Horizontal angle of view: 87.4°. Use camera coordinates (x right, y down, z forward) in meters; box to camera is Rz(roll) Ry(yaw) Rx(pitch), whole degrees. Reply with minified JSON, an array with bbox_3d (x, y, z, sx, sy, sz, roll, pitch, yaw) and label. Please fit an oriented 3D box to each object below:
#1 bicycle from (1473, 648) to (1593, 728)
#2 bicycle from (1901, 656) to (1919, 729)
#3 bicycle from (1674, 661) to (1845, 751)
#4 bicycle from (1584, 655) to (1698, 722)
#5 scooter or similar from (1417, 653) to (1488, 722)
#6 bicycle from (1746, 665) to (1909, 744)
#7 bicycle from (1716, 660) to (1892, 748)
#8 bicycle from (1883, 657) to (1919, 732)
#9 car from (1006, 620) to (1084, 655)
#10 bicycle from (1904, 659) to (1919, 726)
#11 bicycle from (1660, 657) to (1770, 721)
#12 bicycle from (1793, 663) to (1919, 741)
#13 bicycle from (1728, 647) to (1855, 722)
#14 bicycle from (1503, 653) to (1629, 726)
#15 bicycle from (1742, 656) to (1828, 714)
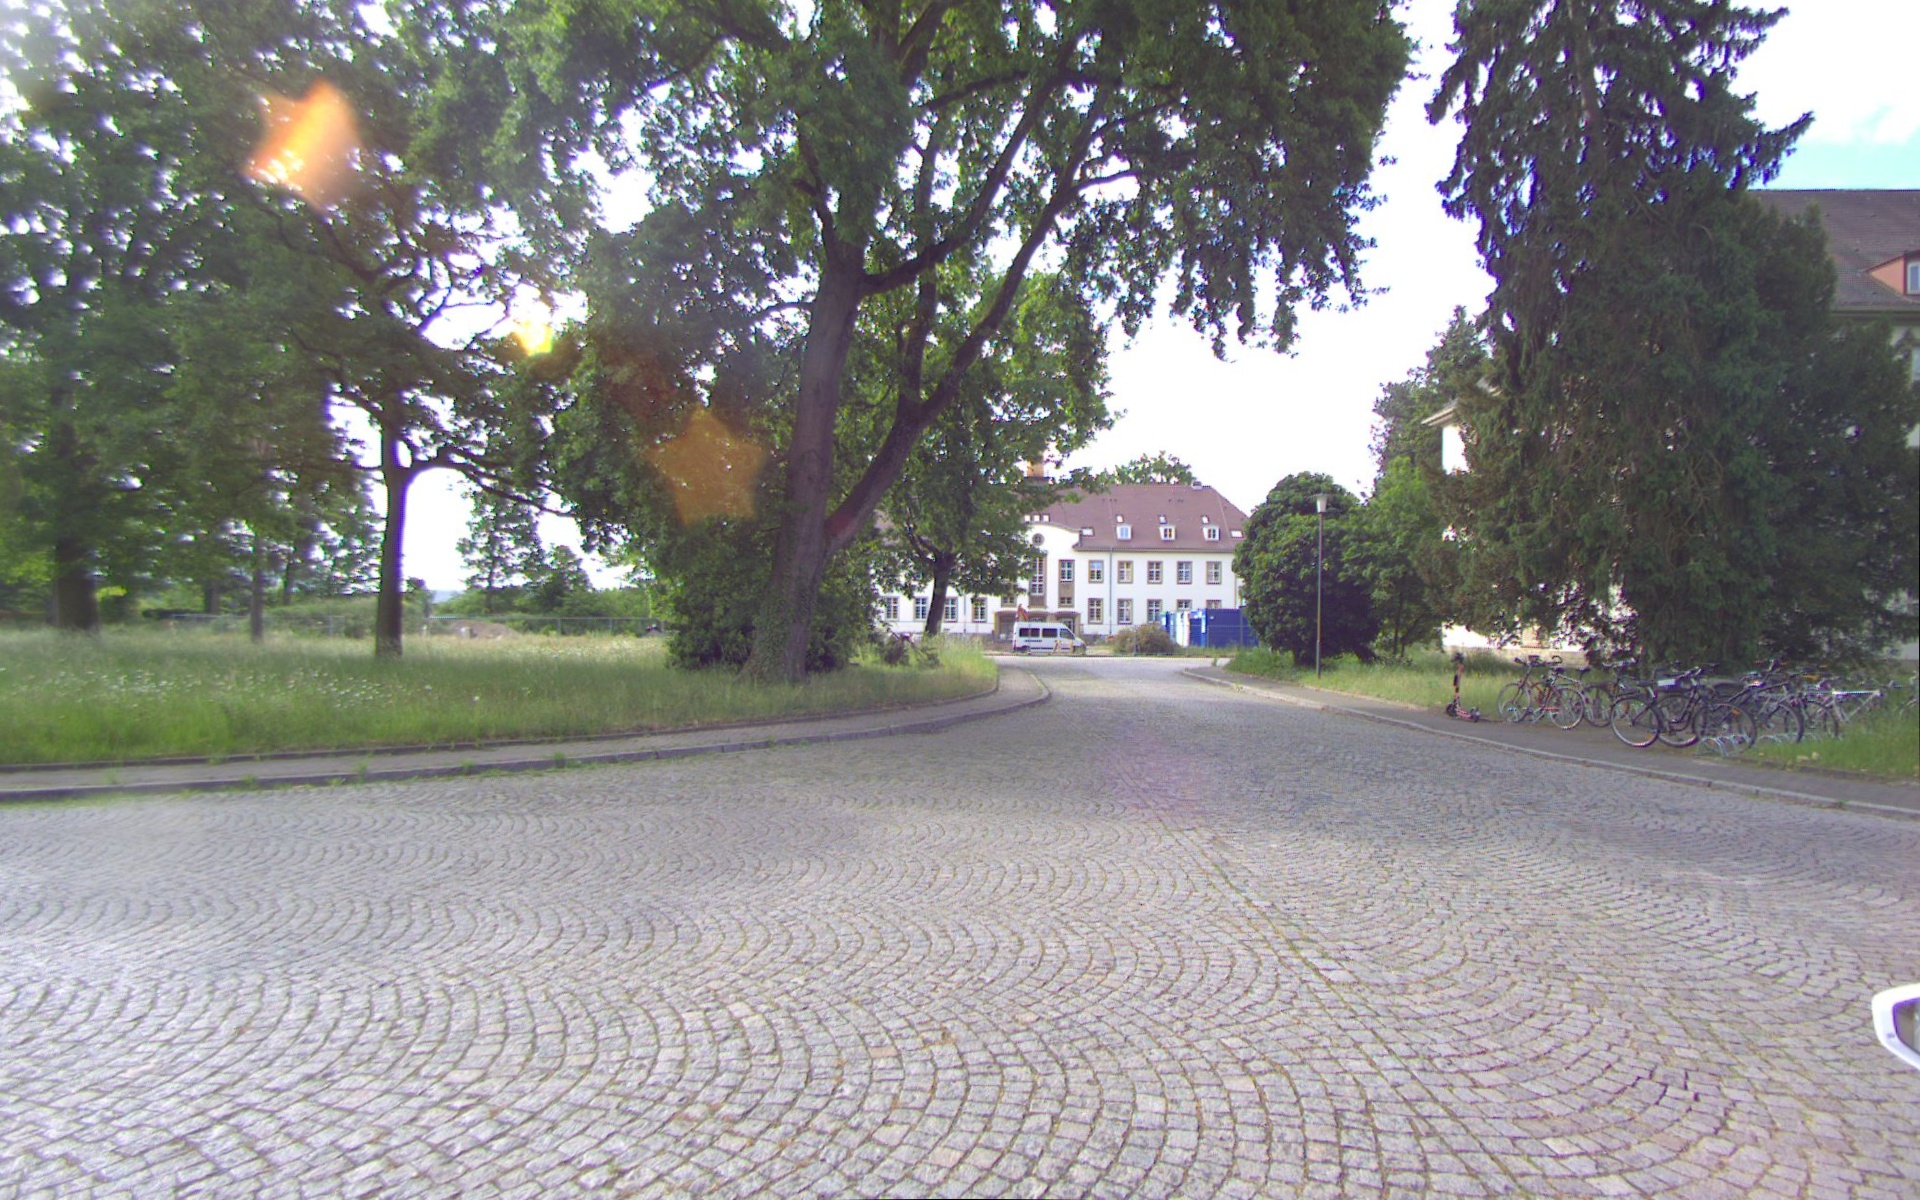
[{"bbox_3d":[9.992,1.496,17.601,0.633,1.239,1.895,-1,0,-16],"label":"bicycle"},{"bbox_3d":[15.542,1.436,15.296,0.533,1.131,1.696,-1,-2,-16],"label":"bicycle"},{"bbox_3d":[11.172,1.449,14.115,0.691,1.118,1.768,-1,-2,-16],"label":"bicycle"},{"bbox_3d":[12.213,1.558,18.062,0.532,1.088,1.618,-1,-1,-27],"label":"bicycle"},{"bbox_3d":[9.104,1.596,18.624,0.668,1.210,1.554,0,-2,6],"label":"scooter or similar"},{"bbox_3d":[12.517,1.476,14.554,0.622,1.014,1.691,-1,-2,-16],"label":"bicycle"},{"bbox_3d":[11.892,1.429,14.238,0.691,1.118,1.793,-1,-2,-16],"label":"bicycle"},{"bbox_3d":[15.058,1.431,15.040,0.533,1.119,1.771,-1,-2,-16],"label":"bicycle"},{"bbox_3d":[6.041,2.655,71.923,5.421,2.237,2.126,2,1,2],"label":"car"},{"bbox_3d":[15.965,1.472,15.754,0.518,1.073,1.616,-1,-2,-16],"label":"bicycle"},{"bbox_3d":[13.712,1.585,18.271,0.538,1.049,1.506,-1,-1,-27],"label":"bicycle"},{"bbox_3d":[13.367,1.453,14.531,0.675,1.018,1.954,-1,-2,-16],"label":"bicycle"},{"bbox_3d":[14.672,1.458,17.775,0.566,1.201,1.635,-1,-1,-23],"label":"bicycle"},{"bbox_3d":[10.648,1.540,17.737,0.633,1.129,1.985,-1,-1,-16],"label":"bicycle"},{"bbox_3d":[15.881,1.624,19.364,0.427,1.042,1.259,3,-3,-16],"label":"bicycle"}]
